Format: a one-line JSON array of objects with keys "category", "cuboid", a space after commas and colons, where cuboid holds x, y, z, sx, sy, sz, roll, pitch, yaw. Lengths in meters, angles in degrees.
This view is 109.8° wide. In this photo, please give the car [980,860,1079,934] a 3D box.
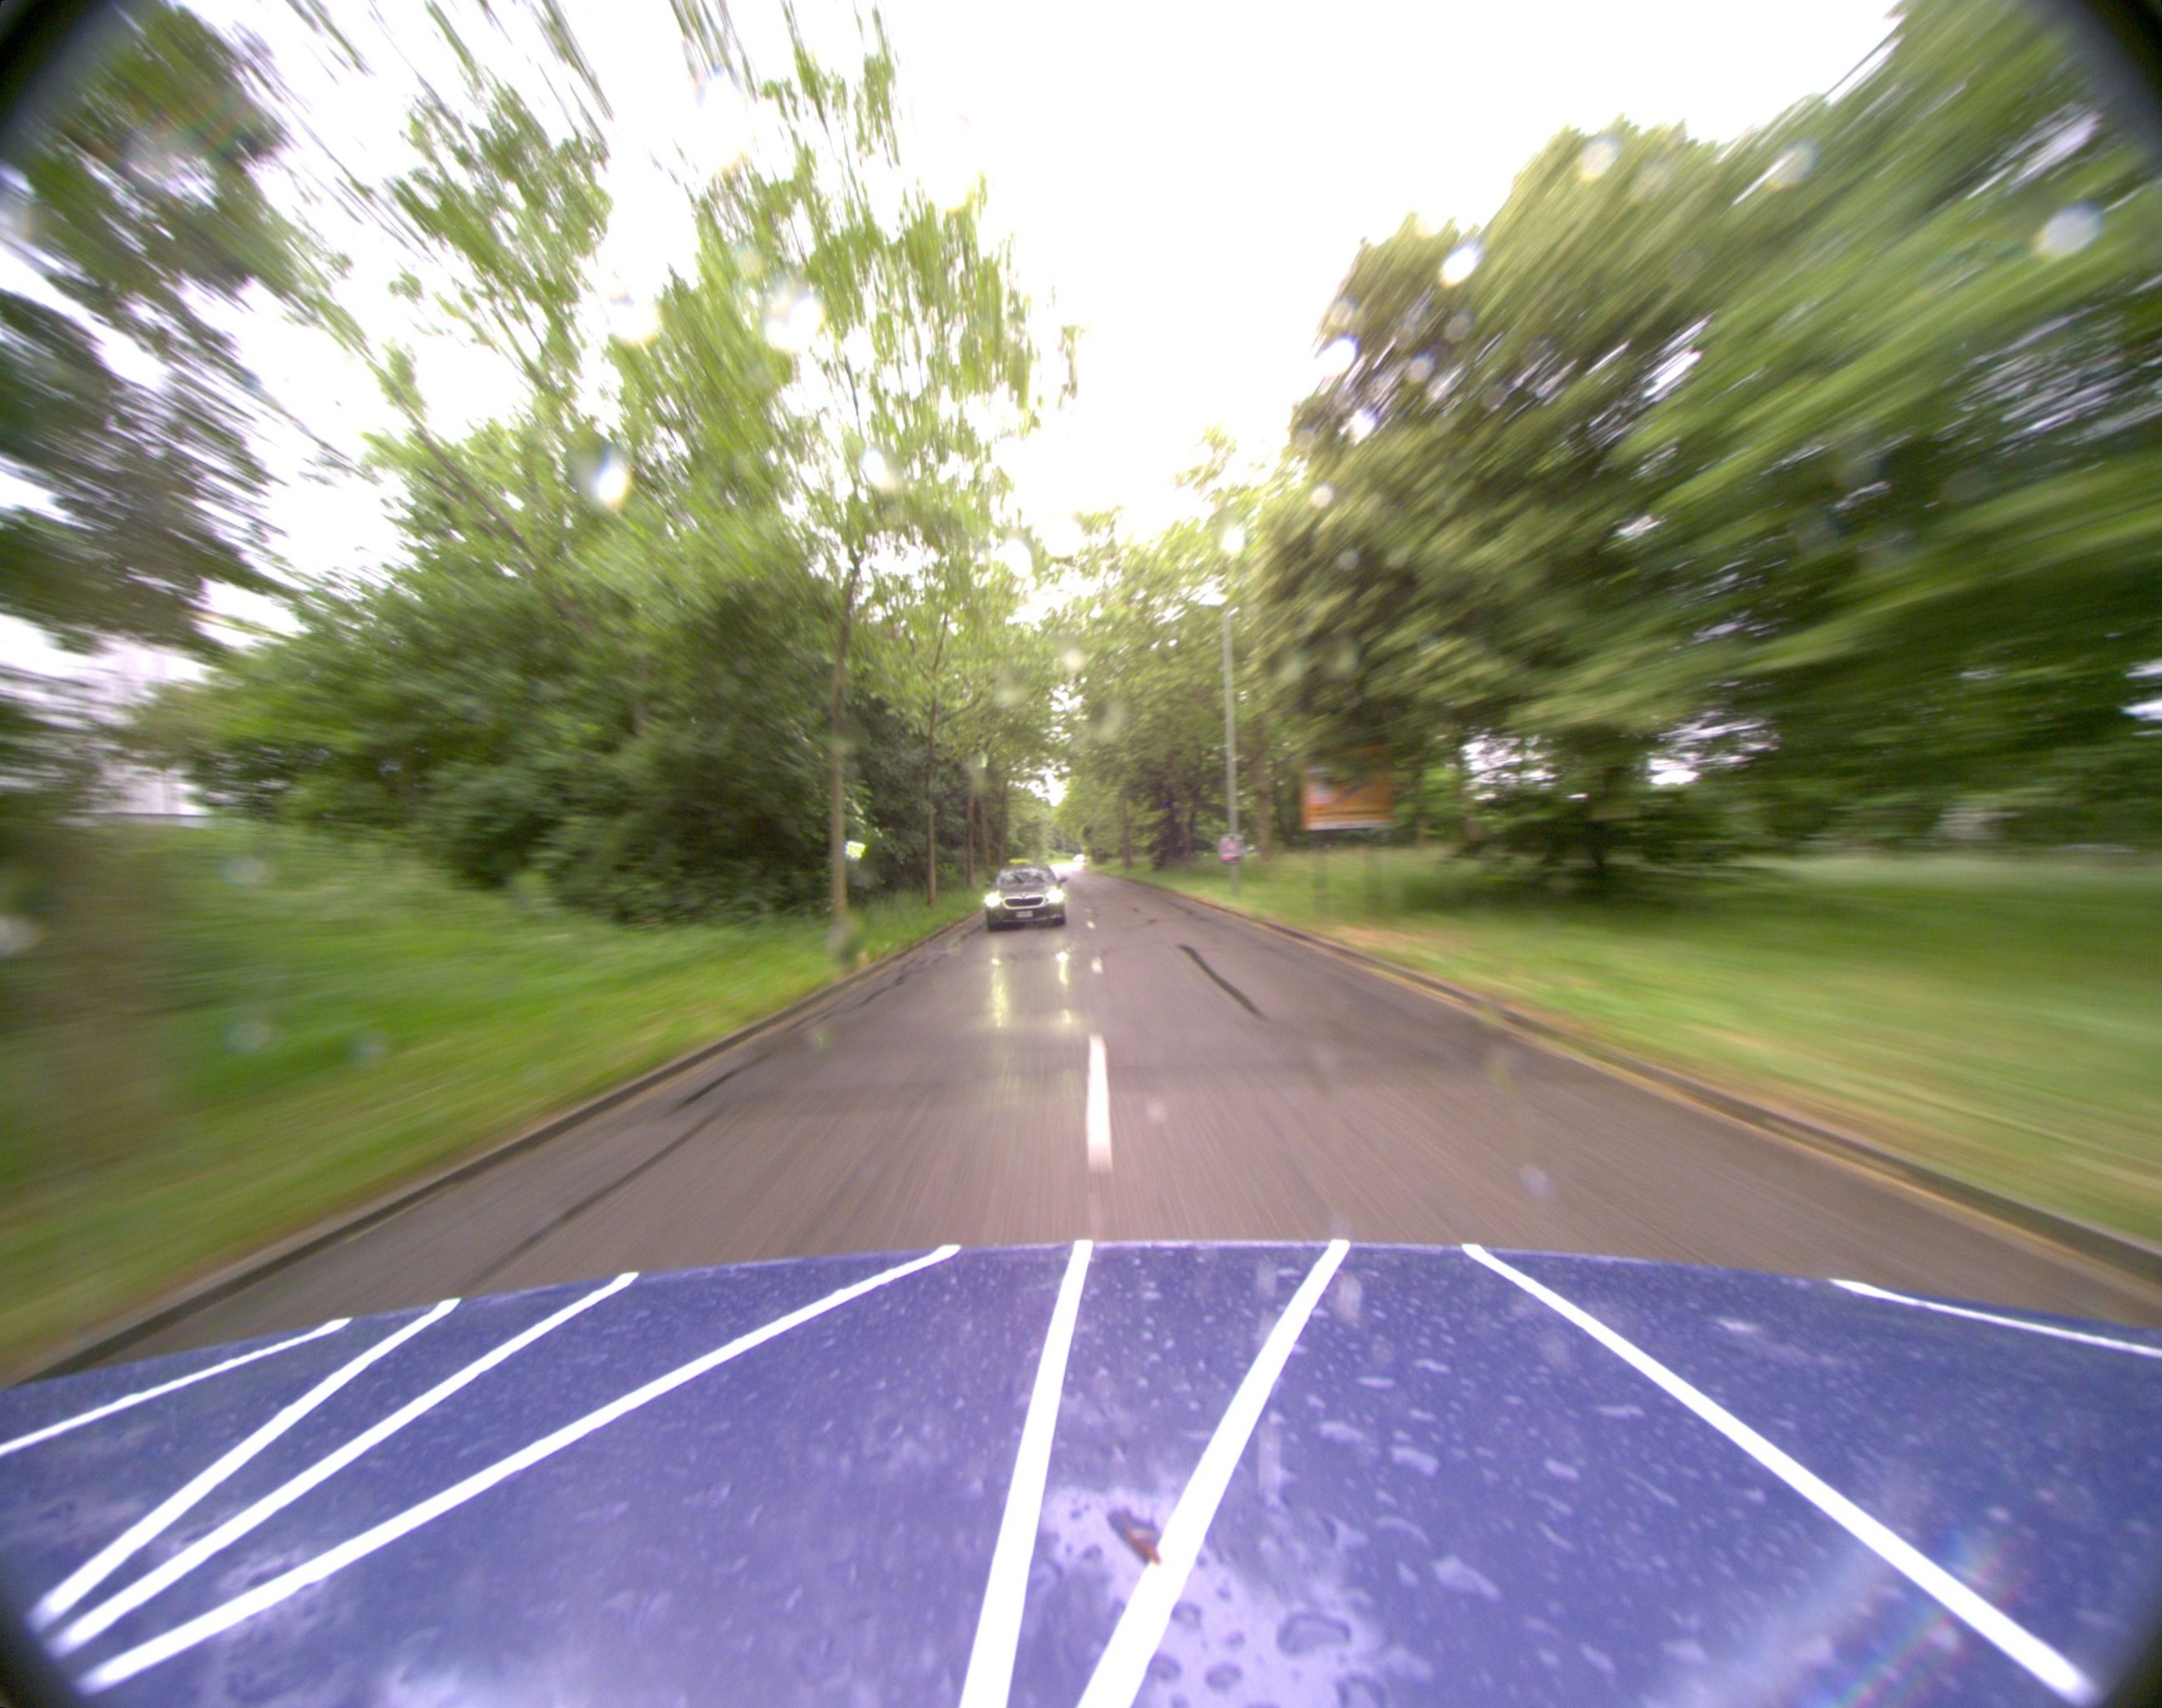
[{"category": "car", "cuboid": [-1.187, 1.003, 19.846, 1.843, 1.486, 4.902, -3, 1, 4]}]
